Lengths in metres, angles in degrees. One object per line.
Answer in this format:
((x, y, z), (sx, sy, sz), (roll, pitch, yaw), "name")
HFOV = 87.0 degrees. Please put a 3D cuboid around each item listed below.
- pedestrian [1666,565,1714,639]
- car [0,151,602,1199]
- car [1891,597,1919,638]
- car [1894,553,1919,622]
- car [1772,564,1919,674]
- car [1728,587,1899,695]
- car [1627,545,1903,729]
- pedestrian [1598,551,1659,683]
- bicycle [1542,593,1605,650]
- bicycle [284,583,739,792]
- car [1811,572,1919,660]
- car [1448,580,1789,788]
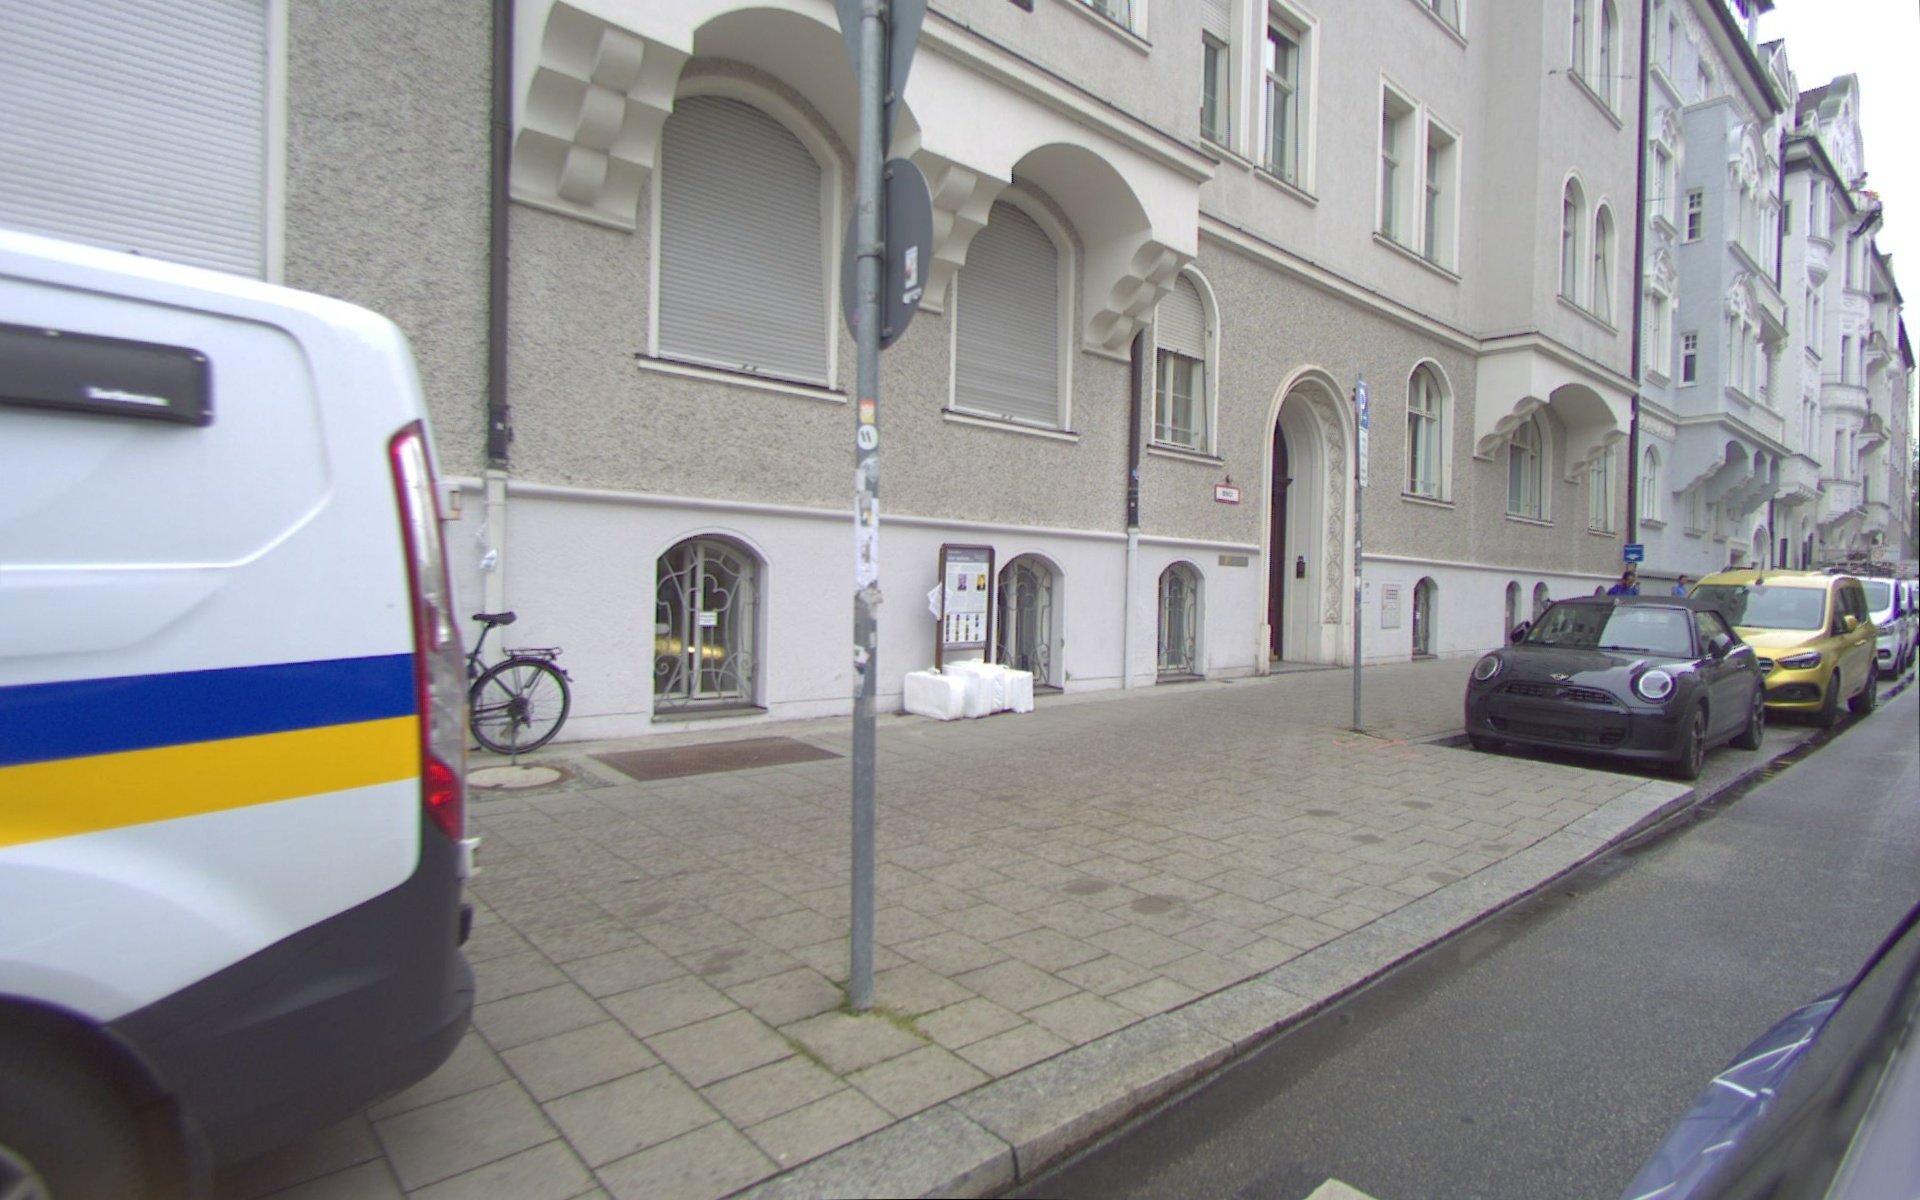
((19.633, 0.048, 27.214), (0.732, 1.926, 0.853), (1, 1, -40), "pedestrian")
((-3.349, 0.256, 1.021), (5.285, 1.945, 1.941), (0, 2, -44), "car")
((35.827, 0.631, 37.406), (4.173, 1.425, 1.790), (0, 2, -43), "car")
((40.346, -0.464, 41.909), (5.355, 2.721, 2.079), (0, 3, -44), "car")
((18.191, 0.316, 20.538), (4.804, 1.942, 1.996), (0, 2, -43), "car")
((14.018, 0.599, 16.555), (3.818, 1.533, 1.636), (0, 1, -42), "car")
((10.365, 0.355, 12.903), (4.492, 1.942, 1.997), (0, 2, -42), "car")
((10.611, 0.251, 16.066), (0.714, 2.039, 0.584), (1, 1, -40), "pedestrian")
((12.945, 0.434, 21.345), (1.693, 1.147, 0.667), (0, 2, -42), "bicycle")
((-2.954, 0.501, 6.962), (2.710, 1.126, 0.840), (0, 5, -43), "bicycle")
((22.596, 0.349, 24.964), (4.798, 1.942, 1.995), (0, 2, -45), "car")
((6.115, 0.599, 9.236), (3.762, 1.463, 1.715), (0, 2, -43), "car")
